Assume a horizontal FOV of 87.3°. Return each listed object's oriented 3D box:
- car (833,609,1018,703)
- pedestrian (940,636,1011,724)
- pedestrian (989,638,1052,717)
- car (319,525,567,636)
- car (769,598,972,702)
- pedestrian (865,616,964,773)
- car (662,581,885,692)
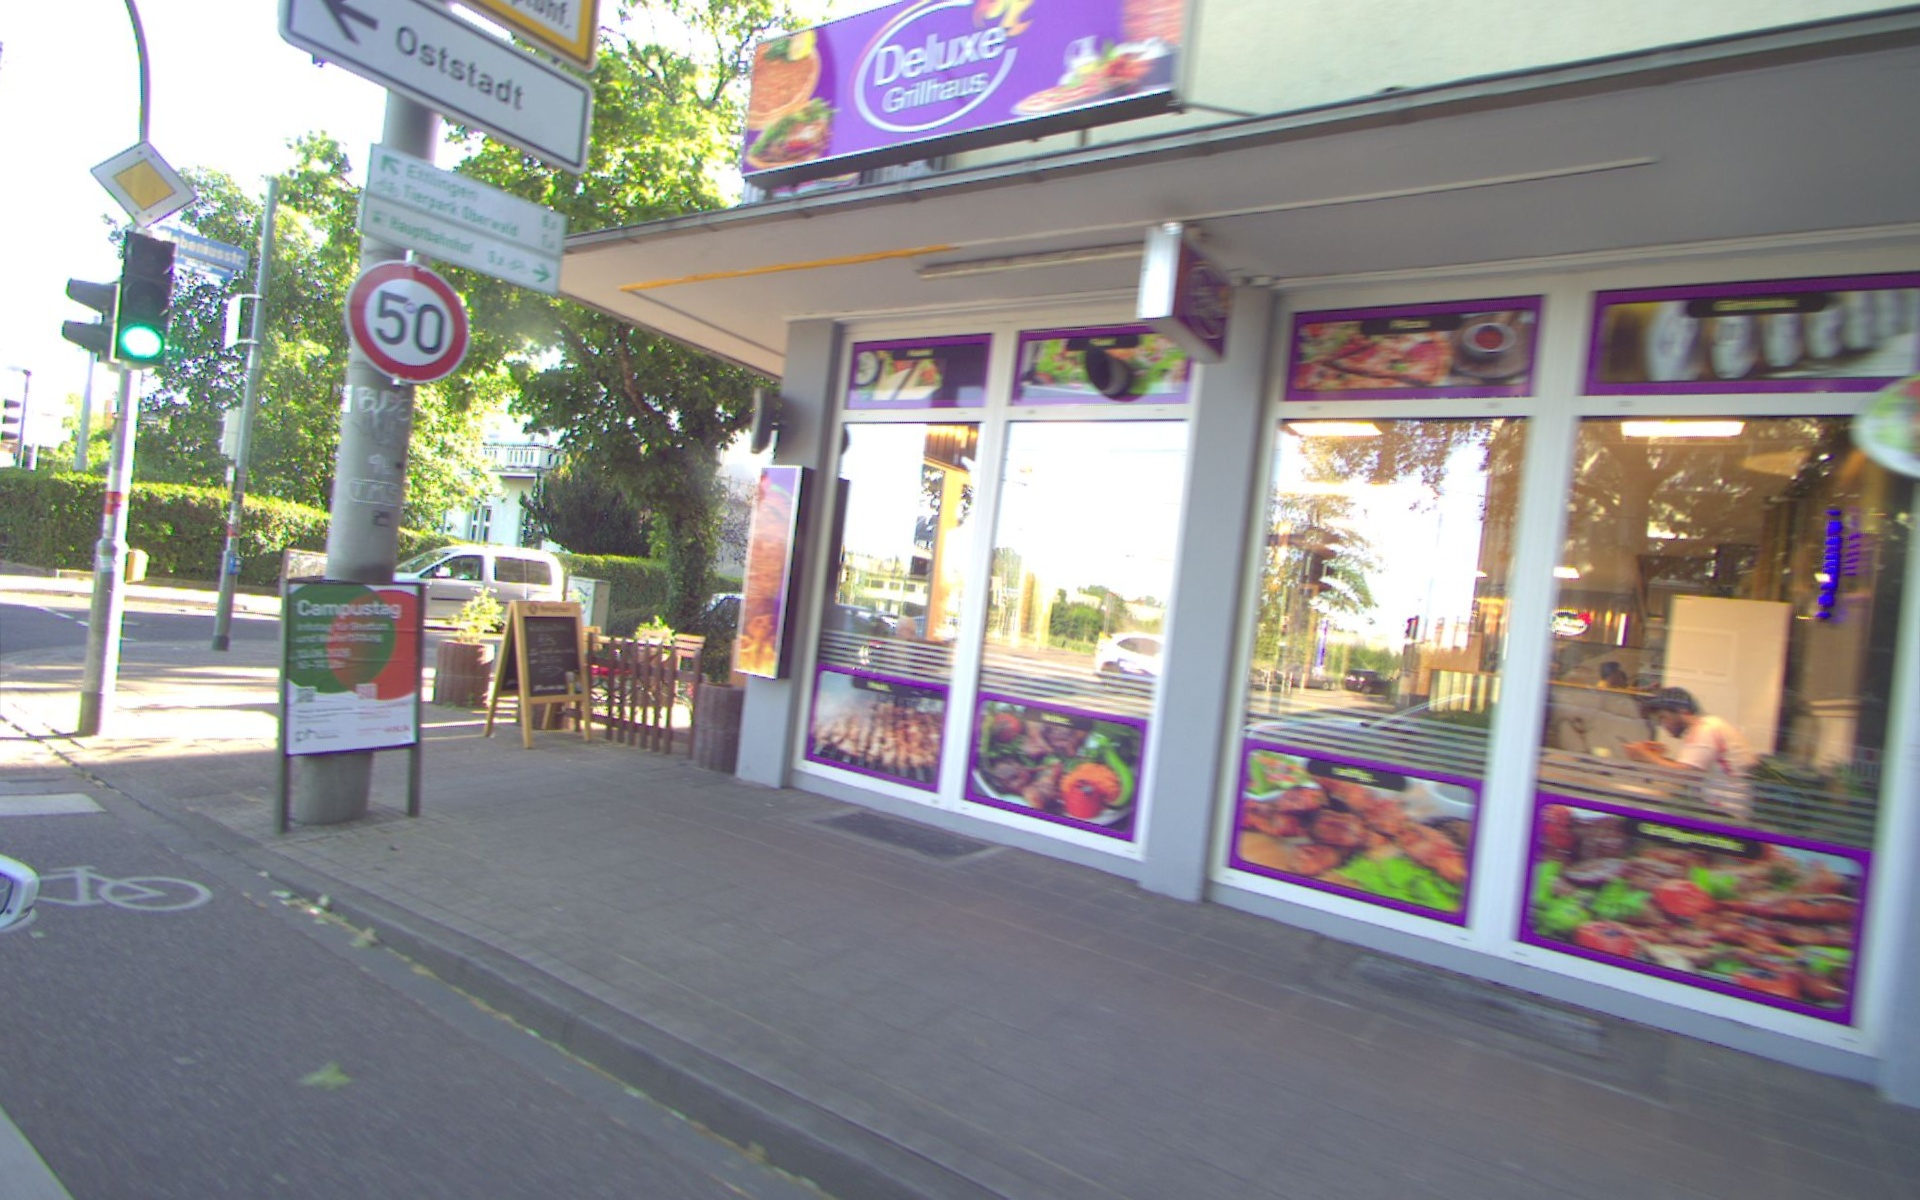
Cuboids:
[{"bbox_3d":[-0.814,1.267,23.072,3.807,1.637,1.713,7,-1,32],"label":"car"},{"bbox_3d":[0.242,1.227,15.374,0.650,1.233,0.739,7,0,34],"label":"pedestrian"},{"bbox_3d":[1.029,1.319,17.051,0.650,1.233,0.739,7,0,34],"label":"pedestrian"},{"bbox_3d":[-10.695,-0.334,21.080,1.780,1.834,4.176,3,-3,37],"label":"car"},{"bbox_3d":[-1.908,1.038,21.104,3.840,1.637,1.713,7,-1,32],"label":"car"},{"bbox_3d":[-0.422,0.868,9.370,0.597,1.358,0.492,7,0,35],"label":"pedestrian"},{"bbox_3d":[-3.637,0.690,19.399,3.968,1.600,1.707,7,-1,31],"label":"car"}]
